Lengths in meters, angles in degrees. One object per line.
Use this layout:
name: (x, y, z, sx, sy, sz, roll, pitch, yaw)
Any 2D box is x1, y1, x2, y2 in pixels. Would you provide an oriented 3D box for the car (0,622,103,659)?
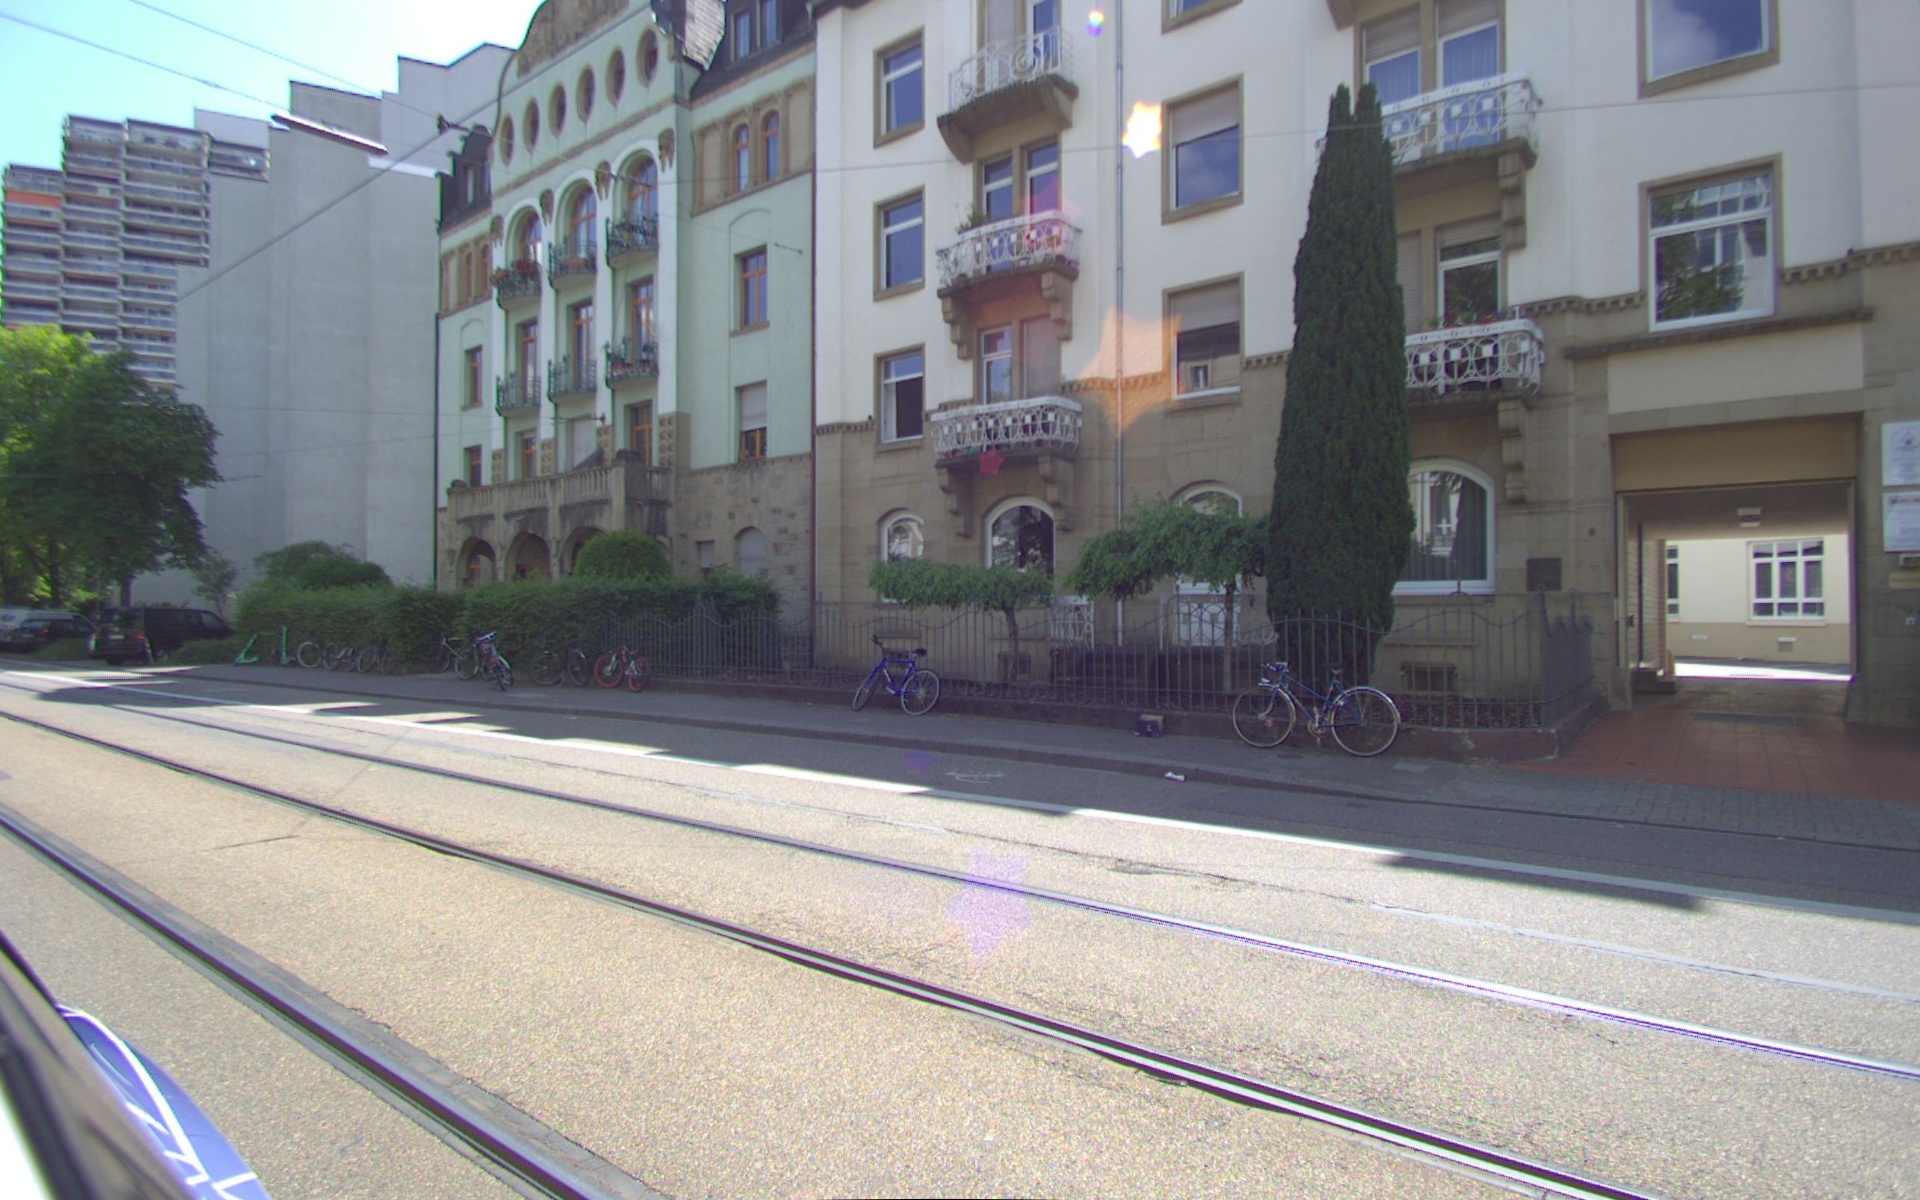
car: (-40.630, 1.776, 45.283, 1.657, 1.587, 3.688, 1, -1, -5)

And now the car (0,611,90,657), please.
car: (-43.356, 1.593, 47.569, 1.579, 2.058, 4.055, 0, -1, -3)

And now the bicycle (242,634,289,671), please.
bicycle: (-20.290, 1.513, 29.551, 1.705, 0.996, 0.602, -2, 2, 38)

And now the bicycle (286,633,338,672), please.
bicycle: (-17.593, 1.409, 27.469, 1.705, 0.996, 0.602, -2, 2, 38)

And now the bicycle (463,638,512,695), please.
bicycle: (-9.066, 1.257, 19.476, 0.599, 1.007, 1.780, 0, -2, -17)

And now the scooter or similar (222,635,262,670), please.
scooter or similar: (-21.703, 1.579, 30.578, 1.216, 1.028, 0.404, -1, -2, 23)

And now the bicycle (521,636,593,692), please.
bicycle: (-7.797, 1.219, 19.547, 1.705, 1.006, 0.460, -1, 2, 38)

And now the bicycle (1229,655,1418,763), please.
bicycle: (3.787, 1.107, 10.653, 1.839, 0.968, 0.406, 0, 2, 38)

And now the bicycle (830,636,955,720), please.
bicycle: (-0.978, 1.075, 14.388, 1.769, 1.072, 0.602, -2, 2, 38)

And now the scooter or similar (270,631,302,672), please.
scooter or similar: (-19.055, 1.445, 28.611, 1.290, 1.128, 0.401, -1, -2, 40)

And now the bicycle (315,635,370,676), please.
bicycle: (-15.929, 1.418, 26.106, 1.705, 0.996, 0.602, -2, 2, 38)

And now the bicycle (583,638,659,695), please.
bicycle: (-6.225, 1.195, 18.523, 1.723, 0.973, 0.409, -1, 2, 38)

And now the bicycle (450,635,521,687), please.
bicycle: (-10.192, 1.286, 21.716, 1.769, 1.040, 0.602, -2, 2, 38)

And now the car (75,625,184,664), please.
car: (-32.706, 1.721, 39.982, 1.699, 1.465, 3.633, 0, -1, -8)

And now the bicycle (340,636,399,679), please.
bicycle: (-14.516, 1.392, 24.873, 1.769, 0.983, 0.602, -2, 2, 38)

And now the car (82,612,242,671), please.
car: (-27.831, 1.409, 35.524, 1.935, 1.940, 4.585, 0, -1, 1)
